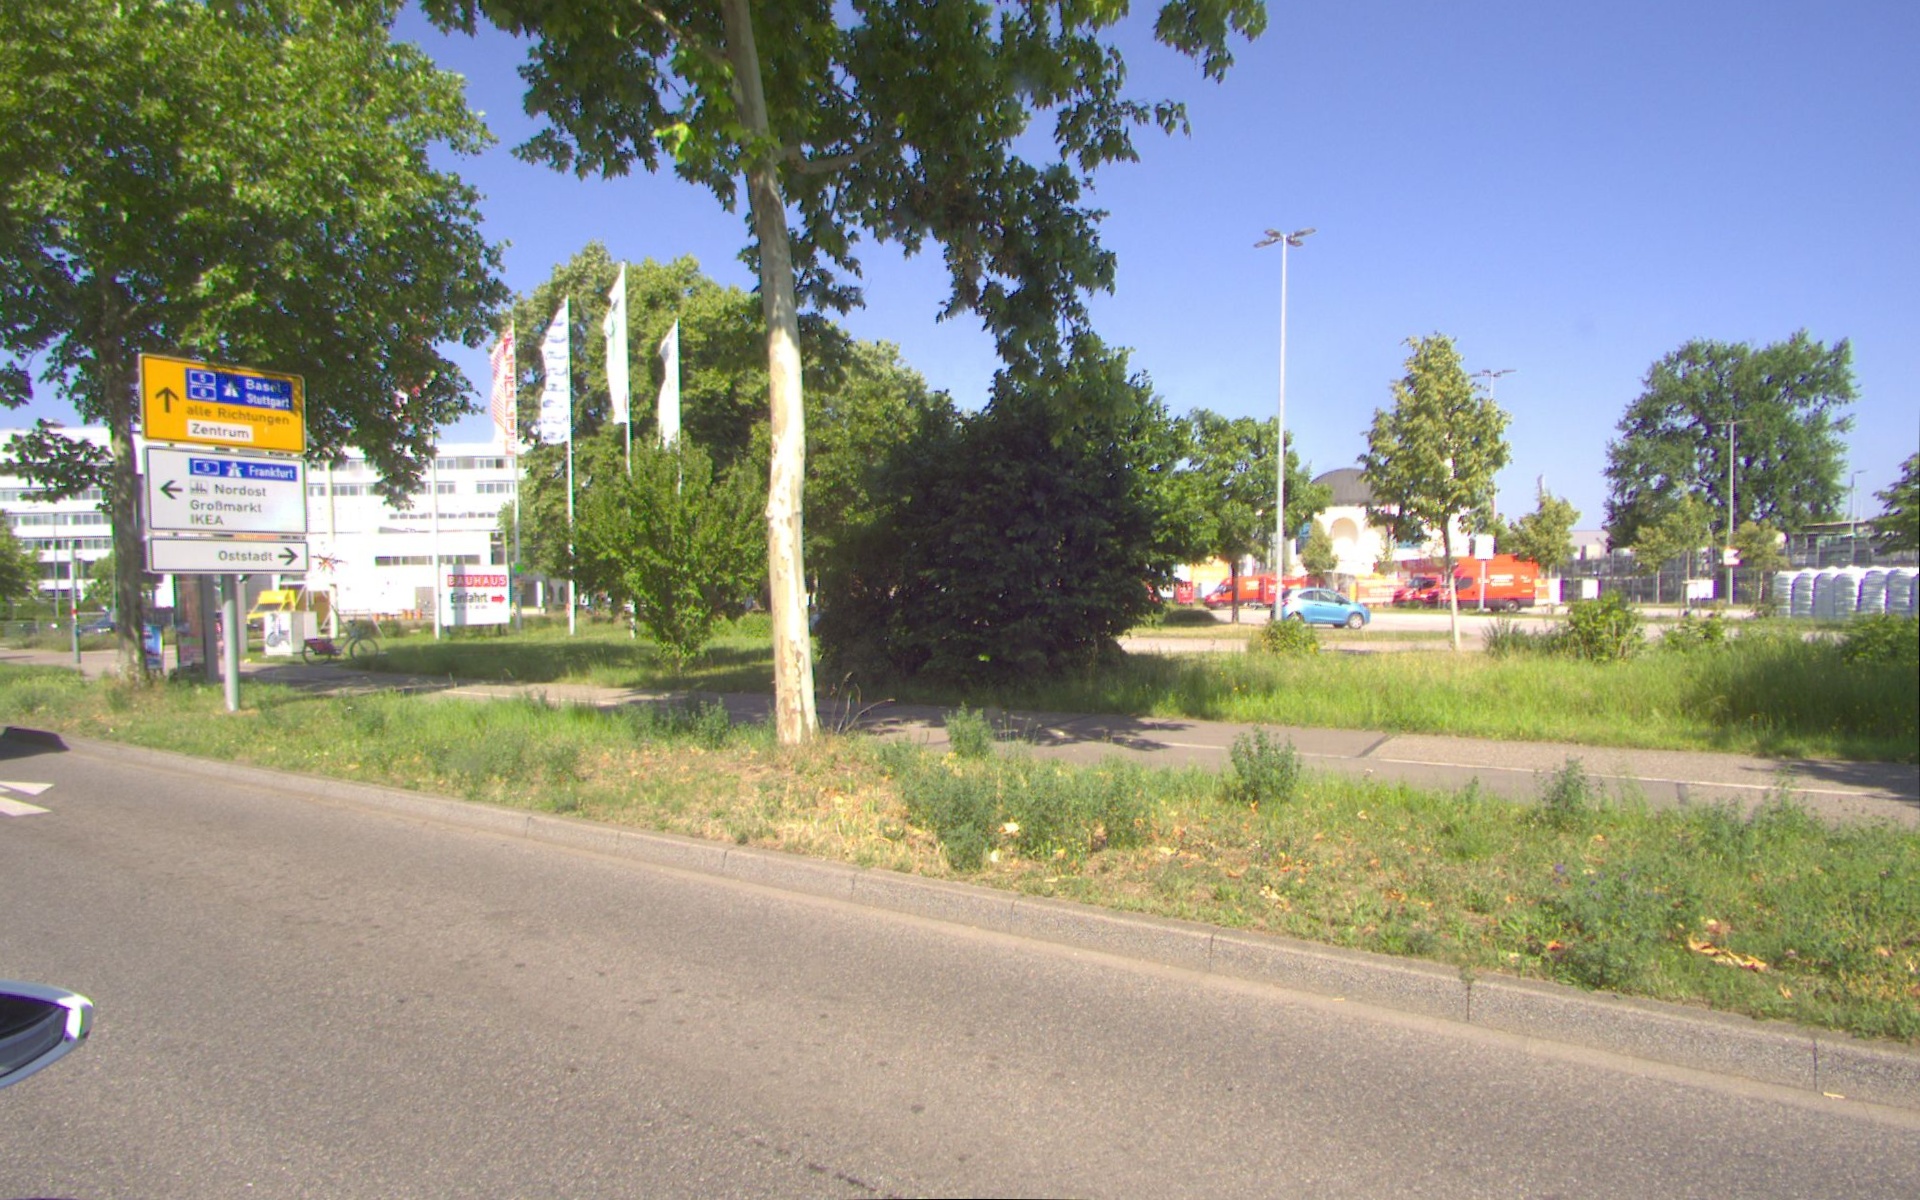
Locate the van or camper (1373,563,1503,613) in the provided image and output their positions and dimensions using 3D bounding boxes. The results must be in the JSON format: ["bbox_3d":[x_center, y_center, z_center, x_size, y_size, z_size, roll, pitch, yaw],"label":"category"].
[{"bbox_3d":[29.692,-0.723,62.299,7.145,2.979,2.001,0,-1,-2],"label":"van or camper"}]

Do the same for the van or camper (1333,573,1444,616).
[{"bbox_3d":[30.676,-0.385,71.784,7.145,2.979,2.001,0,-1,-2],"label":"van or camper"}]

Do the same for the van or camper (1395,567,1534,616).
[{"bbox_3d":[29.416,-0.469,58.550,7.145,2.739,2.001,0,-1,-2],"label":"van or camper"}]

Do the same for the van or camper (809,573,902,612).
[{"bbox_3d":[-8.144,-0.544,78.370,7.145,2.979,2.001,0,-1,-2],"label":"van or camper"}]

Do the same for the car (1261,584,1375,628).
[{"bbox_3d":[13.198,0.238,37.060,3.580,1.561,1.753,0,-2,-3],"label":"car"}]

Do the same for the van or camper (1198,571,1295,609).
[{"bbox_3d":[22.952,-0.777,80.344,7.145,2.979,2.001,0,-1,-2],"label":"van or camper"}]

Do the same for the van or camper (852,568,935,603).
[{"bbox_3d":[-5.797,-1.269,87.484,7.145,2.979,2.001,0,-1,-2],"label":"van or camper"}]

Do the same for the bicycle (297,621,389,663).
[{"bbox_3d":[-16.303,1.087,26.495,1.985,1.027,0.615,-1,1,-41],"label":"bicycle"}]
